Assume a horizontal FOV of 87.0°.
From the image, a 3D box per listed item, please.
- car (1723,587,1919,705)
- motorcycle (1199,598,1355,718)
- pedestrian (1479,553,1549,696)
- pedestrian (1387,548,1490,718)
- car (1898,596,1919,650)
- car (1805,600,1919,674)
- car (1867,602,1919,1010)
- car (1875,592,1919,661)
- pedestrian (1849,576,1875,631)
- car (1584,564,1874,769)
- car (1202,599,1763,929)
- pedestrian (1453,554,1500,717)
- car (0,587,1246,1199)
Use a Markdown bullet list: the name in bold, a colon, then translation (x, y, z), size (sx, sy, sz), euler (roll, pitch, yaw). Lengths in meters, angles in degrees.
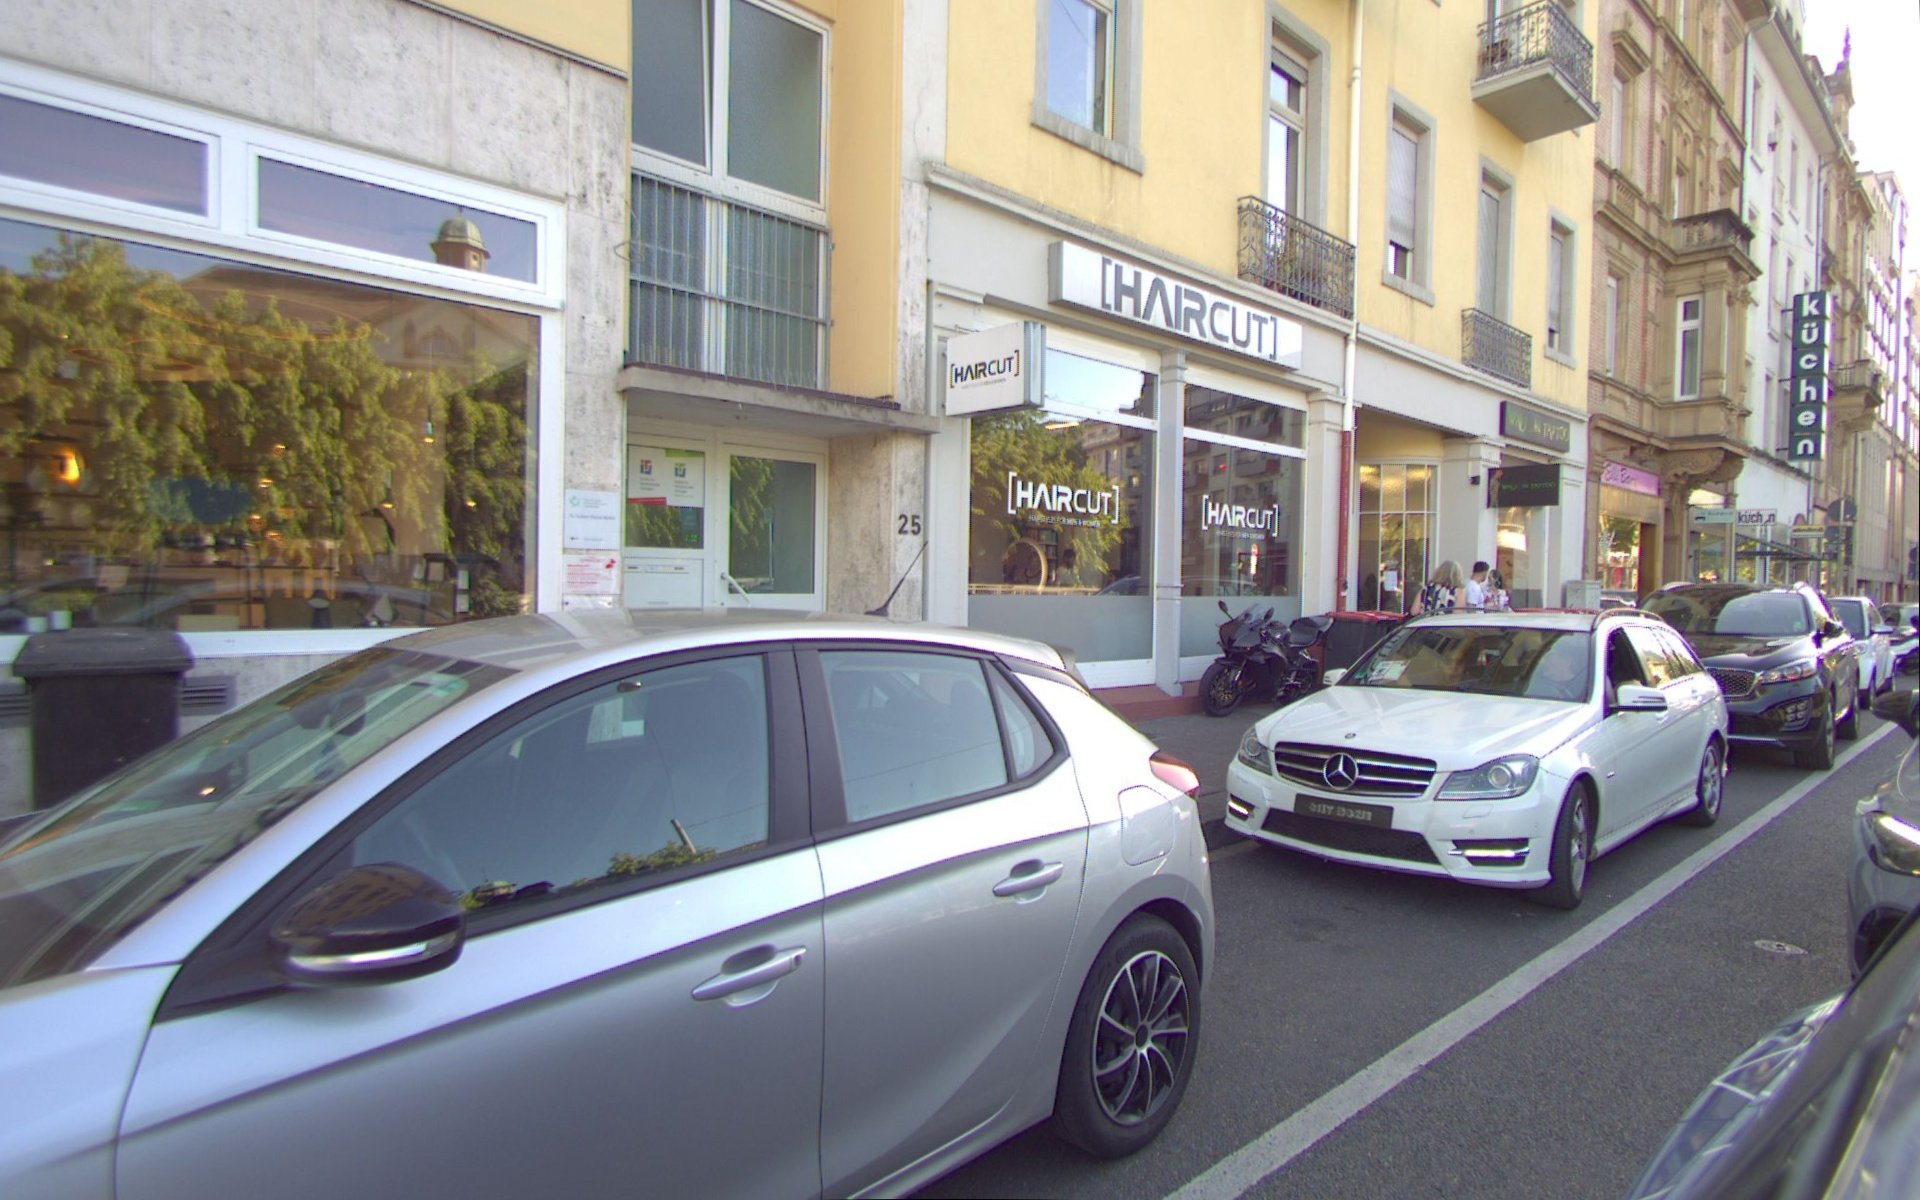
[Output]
- **car**: translation (13.136, 0.577, 15.338), size (4.016, 1.546, 1.800), euler (-1, 0, -42)
- **motorcycle**: translation (3.301, 0.548, 10.450), size (1.920, 1.091, 0.567), euler (-1, 4, -41)
- **pedestrian**: translation (7.489, 0.315, 13.676), size (0.565, 1.874, 0.664), euler (0, 0, -39)
- **pedestrian**: translation (4.940, 0.311, 10.465), size (0.595, 1.674, 0.719), euler (0, 3, -40)
- **car**: translation (26.650, 0.592, 27.200), size (3.773, 1.357, 1.800), euler (-1, 1, -42)
- **car**: translation (18.089, 0.659, 19.861), size (4.016, 1.282, 1.800), euler (-1, 1, -42)
- **car**: translation (5.253, 0.703, 4.234), size (3.932, 1.376, 1.800), euler (-1, 1, -42)
- **car**: translation (22.178, 0.562, 23.009), size (4.016, 1.450, 1.657), euler (-1, 0, -42)
- **pedestrian**: translation (30.992, 0.107, 34.769), size (0.653, 1.874, 0.574), euler (0, 0, -40)
- **car**: translation (7.978, 0.515, 10.340), size (4.176, 1.659, 1.799), euler (-1, 0, -45)
- **car**: translation (3.534, 0.708, 6.437), size (4.302, 1.376, 1.703), euler (-1, 0, -41)
- **pedestrian**: translation (6.559, 0.424, 12.843), size (0.372, 2.008, 0.684), euler (1, 1, 39)
- **car**: translation (-1.015, 0.696, 2.295), size (3.597, 1.445, 1.549), euler (-1, 1, -42)
